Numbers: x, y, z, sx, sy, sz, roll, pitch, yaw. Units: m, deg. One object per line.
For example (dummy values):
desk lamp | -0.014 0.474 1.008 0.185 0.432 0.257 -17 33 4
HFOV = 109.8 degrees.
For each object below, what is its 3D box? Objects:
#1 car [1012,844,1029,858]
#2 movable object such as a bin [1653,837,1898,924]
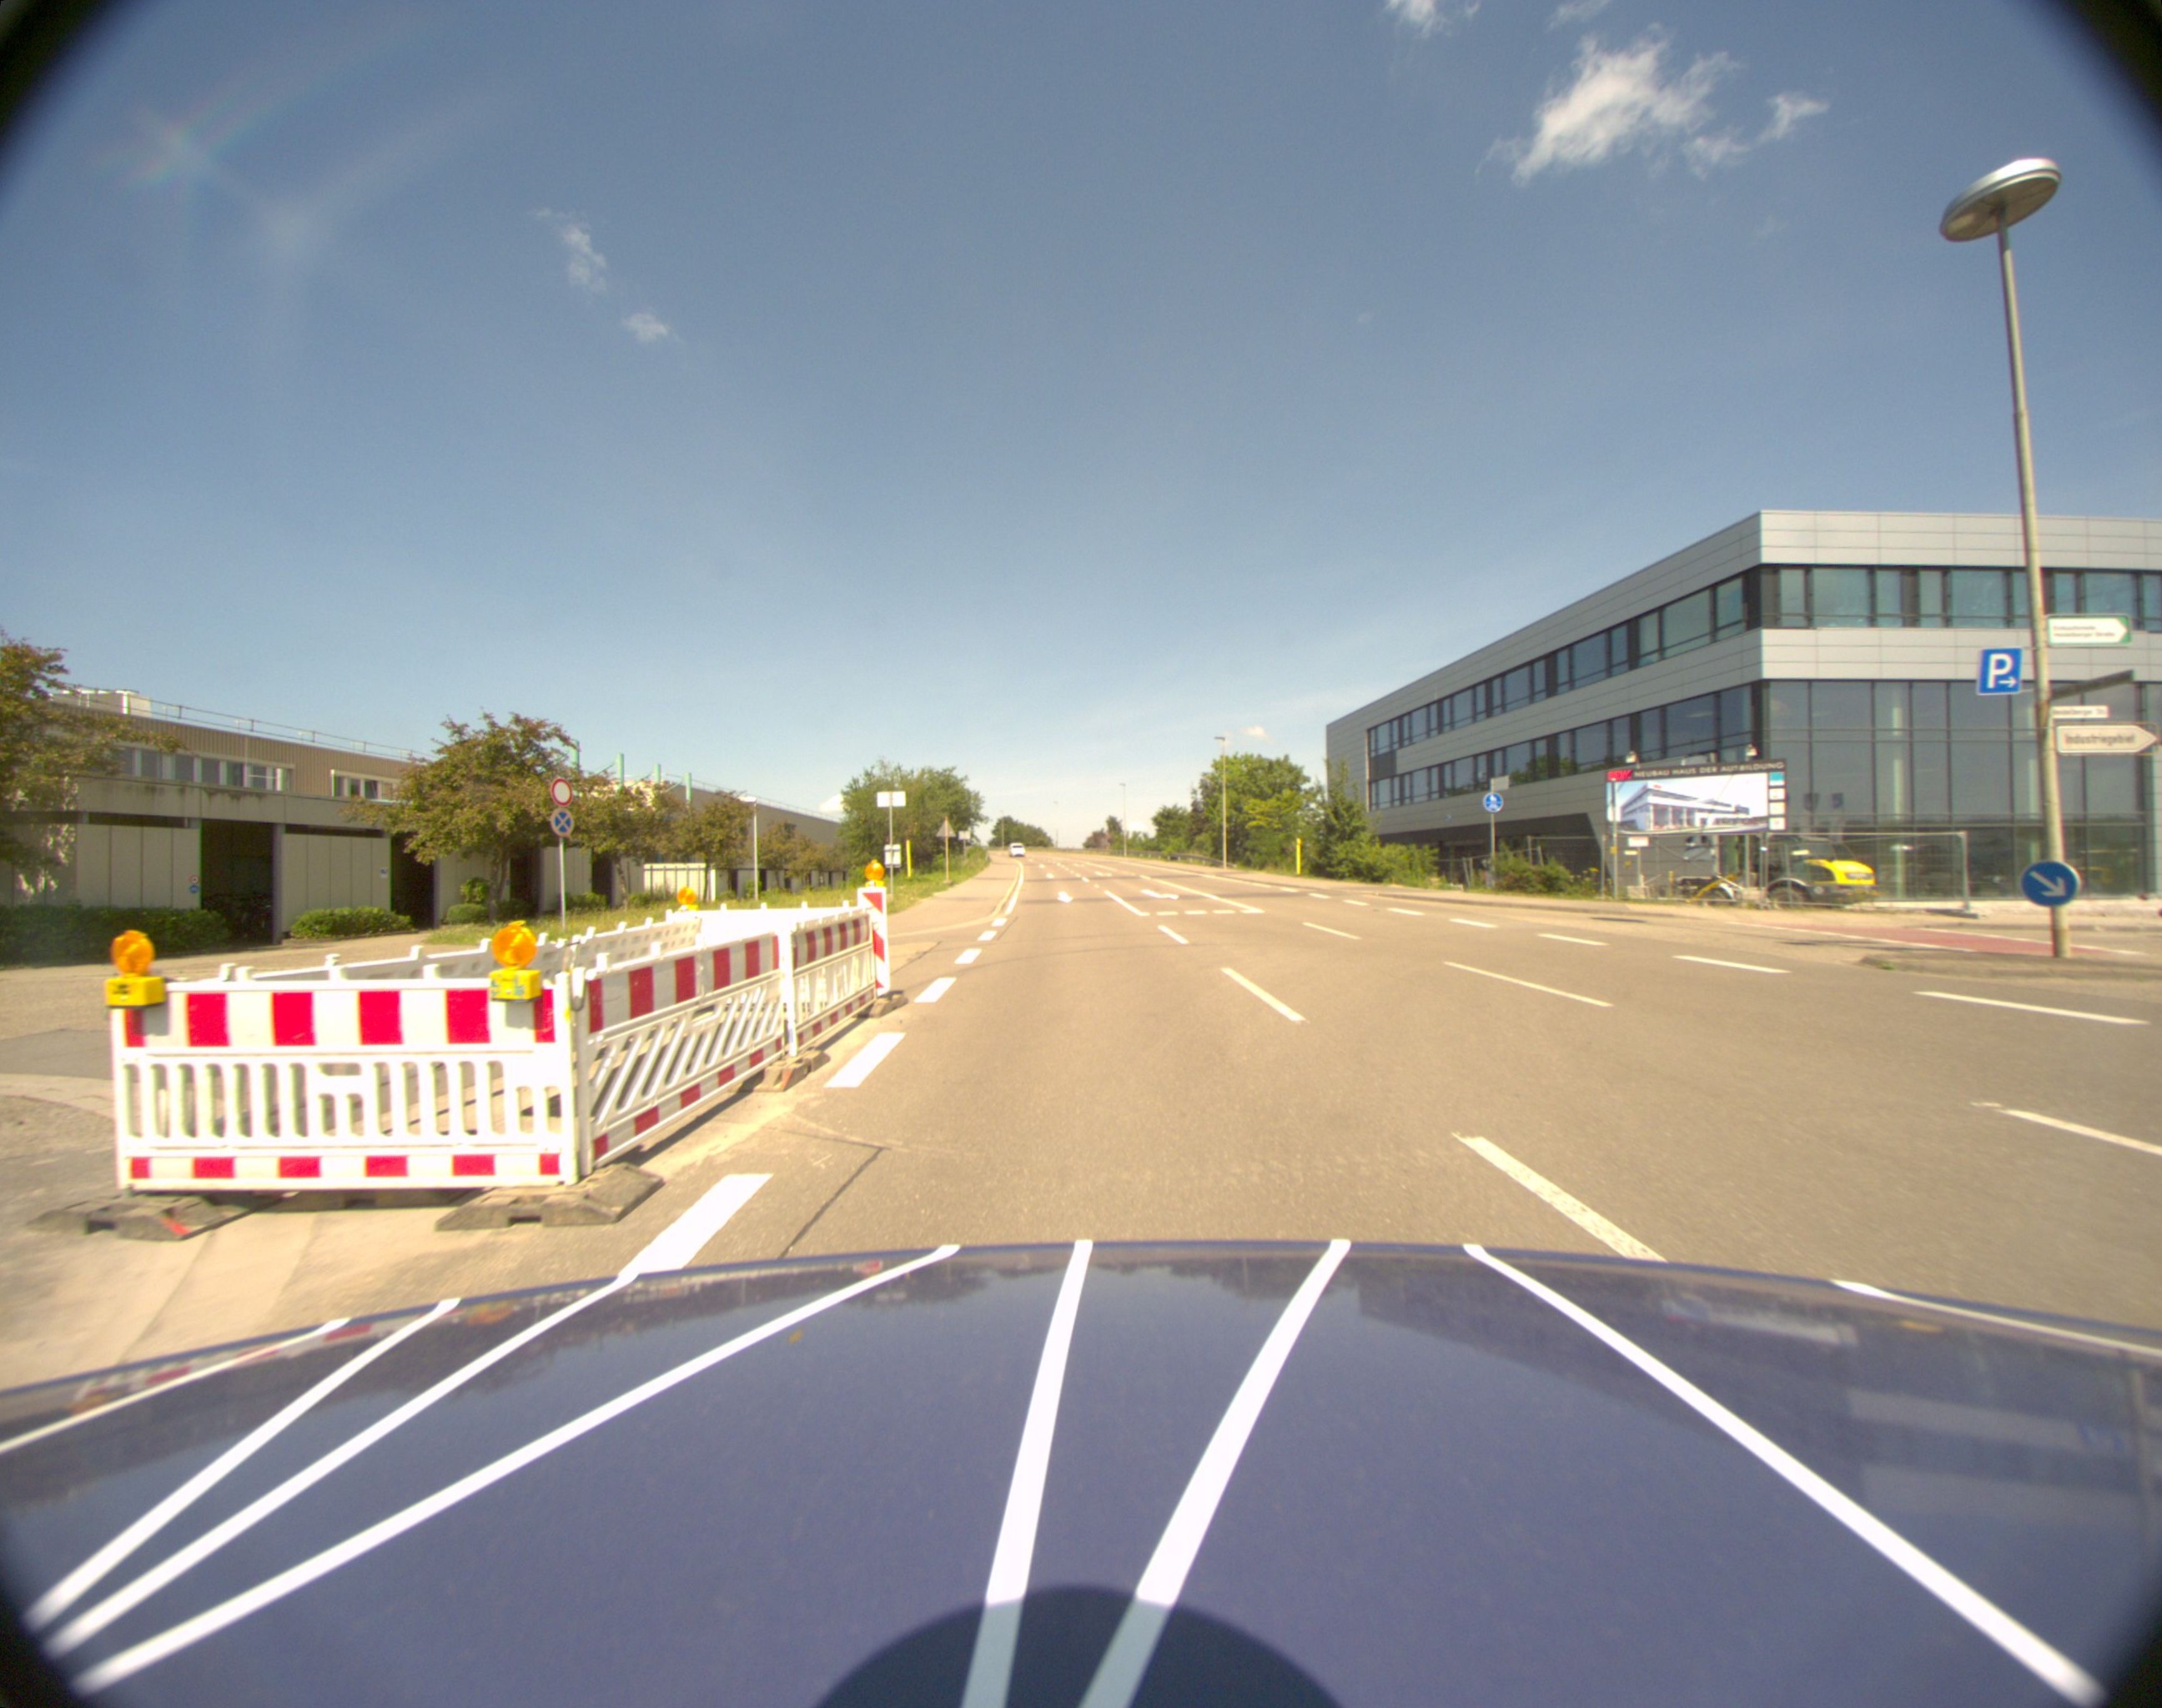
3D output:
car | -8.285 -0.406 103.981 2.000 1.903 3.997 0 0 -8
movable object such as a bin | 21.536 0.736 23.982 2.172 2.395 5.455 -1 0 -12
